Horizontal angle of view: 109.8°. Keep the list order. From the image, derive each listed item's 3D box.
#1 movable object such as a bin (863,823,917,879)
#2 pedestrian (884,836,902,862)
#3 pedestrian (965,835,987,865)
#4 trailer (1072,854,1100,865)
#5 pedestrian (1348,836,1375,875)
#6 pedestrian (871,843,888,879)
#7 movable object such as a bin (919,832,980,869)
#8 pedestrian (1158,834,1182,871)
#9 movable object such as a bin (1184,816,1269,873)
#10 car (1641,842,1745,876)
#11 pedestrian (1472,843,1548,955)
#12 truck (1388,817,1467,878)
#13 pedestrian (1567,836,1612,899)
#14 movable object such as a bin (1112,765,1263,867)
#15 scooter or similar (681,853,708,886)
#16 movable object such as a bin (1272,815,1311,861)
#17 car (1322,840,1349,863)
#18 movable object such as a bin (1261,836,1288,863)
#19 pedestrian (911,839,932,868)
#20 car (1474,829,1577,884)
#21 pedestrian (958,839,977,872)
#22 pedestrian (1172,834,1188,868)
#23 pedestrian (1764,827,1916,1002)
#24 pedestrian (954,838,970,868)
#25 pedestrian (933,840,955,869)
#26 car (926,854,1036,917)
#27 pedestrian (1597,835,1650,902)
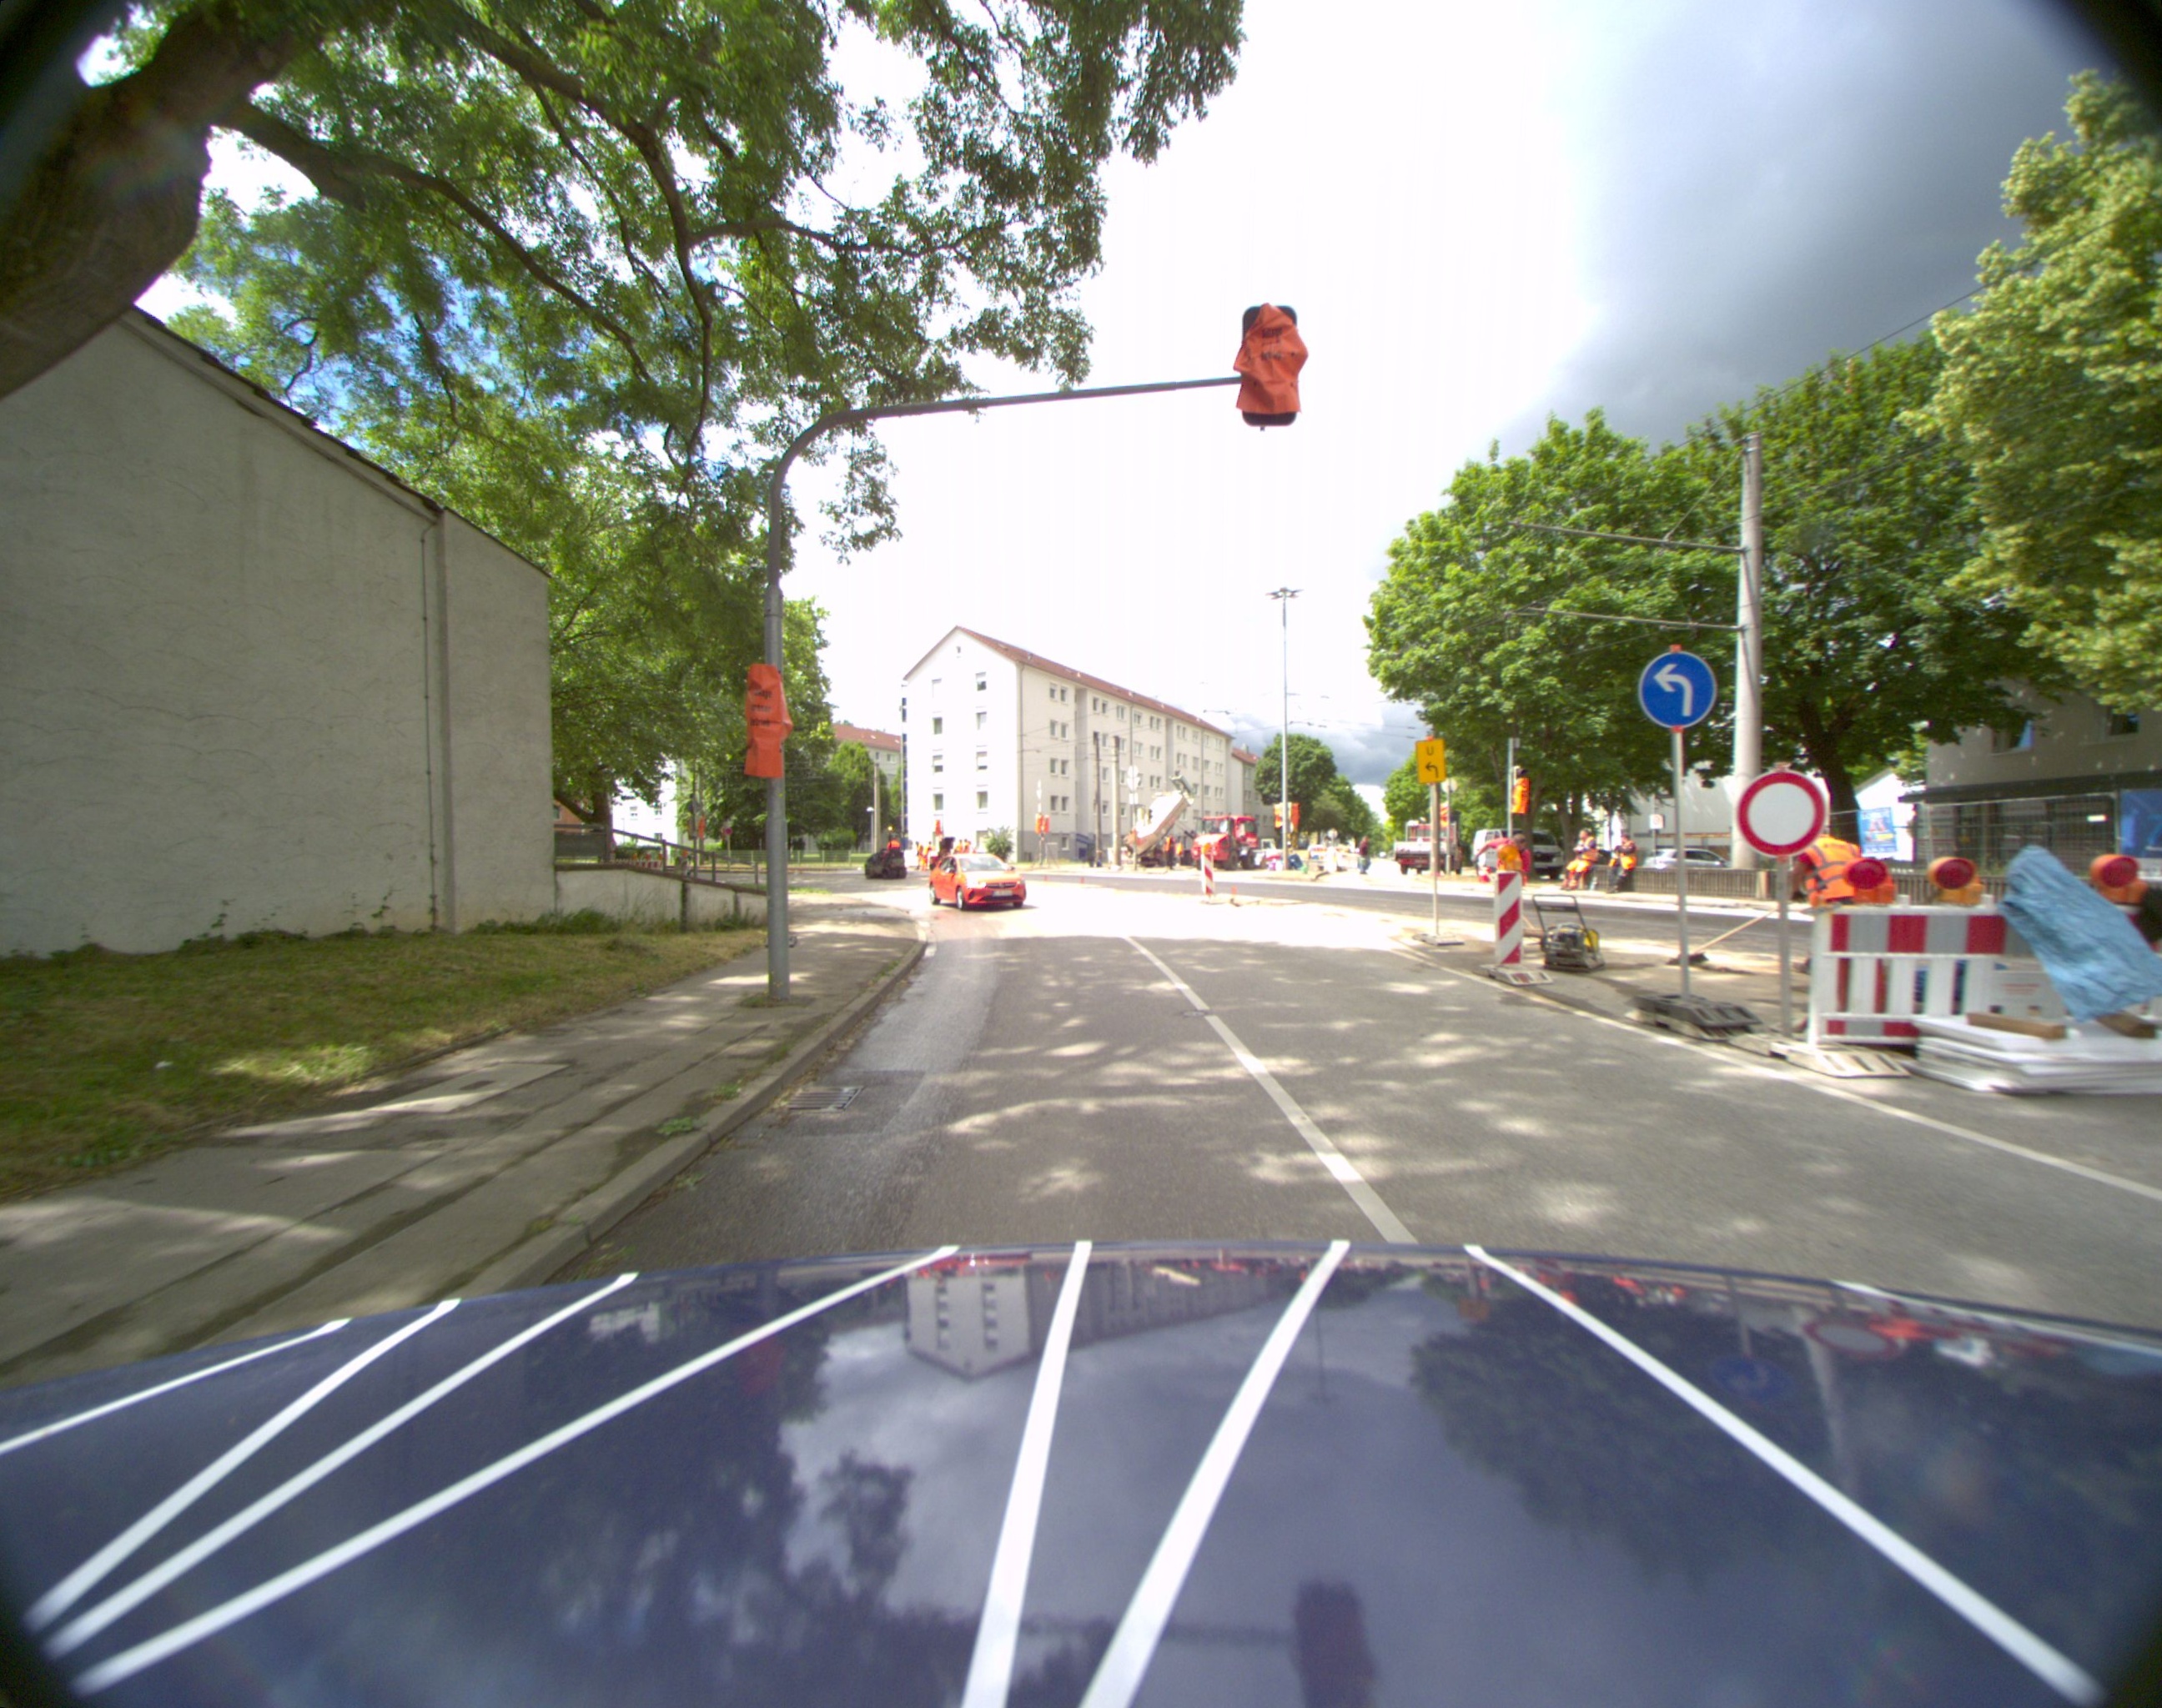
[{"bbox_3d":[-9.163,-0.152,36.367,2.355,2.579,1.323,0,2,40],"label":"movable object such as a bin"},{"bbox_3d":[-8.817,-0.240,35.636,0.615,1.209,0.552,0,1,40],"label":"pedestrian"},{"bbox_3d":[-6.410,-0.225,46.449,0.872,1.813,1.098,0,1,29],"label":"pedestrian"},{"bbox_3d":[0.278,0.337,43.798,0.799,0.612,1.593,0,0,-37],"label":"trailer"},{"bbox_3d":[12.126,0.076,32.875,0.872,1.650,0.930,-1,1,35],"label":"pedestrian"},{"bbox_3d":[-9.609,0.318,36.299,0.557,1.673,0.471,0,4,32],"label":"pedestrian"},{"bbox_3d":[-7.601,-0.201,43.877,2.959,2.002,2.004,0,1,38],"label":"movable object such as a bin"},{"bbox_3d":[4.444,-0.084,37.848,0.797,1.822,0.969,-2,2,-24],"label":"pedestrian"},{"bbox_3d":[7.457,-0.512,38.397,2.110,2.654,5.598,0,2,35],"label":"movable object such as a bin"},{"bbox_3d":[26.900,0.199,33.475,3.197,1.446,1.566,0,1,16],"label":"car"},{"bbox_3d":[6.275,0.635,11.111,0.898,1.542,0.766,-2,1,32],"label":"pedestrian"},{"bbox_3d":[15.945,-0.326,34.751,2.412,2.553,5.594,0,1,34],"label":"truck"},{"bbox_3d":[12.659,0.318,18.924,0.796,1.532,0.763,0,1,23],"label":"pedestrian"},{"bbox_3d":[6.334,-2.027,44.233,9.052,5.453,2.814,0,1,-33],"label":"movable object such as a bin"},{"bbox_3d":[-14.943,0.594,29.370,1.191,1.225,0.567,0,1,43],"label":"scooter or similar"},{"bbox_3d":[21.685,-1.555,77.993,2.819,4.509,6.220,0,0,26],"label":"movable object such as a bin"},{"bbox_3d":[22.825,-0.226,67.977,1.995,2.002,5.918,0,0,22],"label":"car"},{"bbox_3d":[17.823,-0.398,69.914,1.995,2.395,4.006,0,0,21],"label":"movable object such as a bin"},{"bbox_3d":[-9.524,-0.020,45.353,0.916,1.706,0.755,-1,1,35],"label":"pedestrian"},{"bbox_3d":[16.640,0.057,28.748,1.996,1.876,5.256,0,0,14],"label":"car"},{"bbox_3d":[-6.418,0.081,42.975,0.767,1.829,0.785,0,1,27],"label":"pedestrian"},{"bbox_3d":[5.274,-0.170,40.411,0.611,1.778,0.583,-2,0,33],"label":"pedestrian"},{"bbox_3d":[7.695,0.563,7.730,0.707,1.659,0.826,-2,3,-21],"label":"pedestrian"},{"bbox_3d":[-7.525,-0.058,48.098,0.881,1.897,0.666,-1,2,-15],"label":"pedestrian"},{"bbox_3d":[-8.158,0.005,45.356,0.916,1.706,0.861,-1,2,40],"label":"pedestrian"},{"bbox_3d":[-2.823,0.776,20.753,1.773,1.425,3.830,-3,2,-26],"label":"car"},{"bbox_3d":[12.776,0.322,17.915,0.839,1.524,0.909,0,1,23],"label":"pedestrian"}]
